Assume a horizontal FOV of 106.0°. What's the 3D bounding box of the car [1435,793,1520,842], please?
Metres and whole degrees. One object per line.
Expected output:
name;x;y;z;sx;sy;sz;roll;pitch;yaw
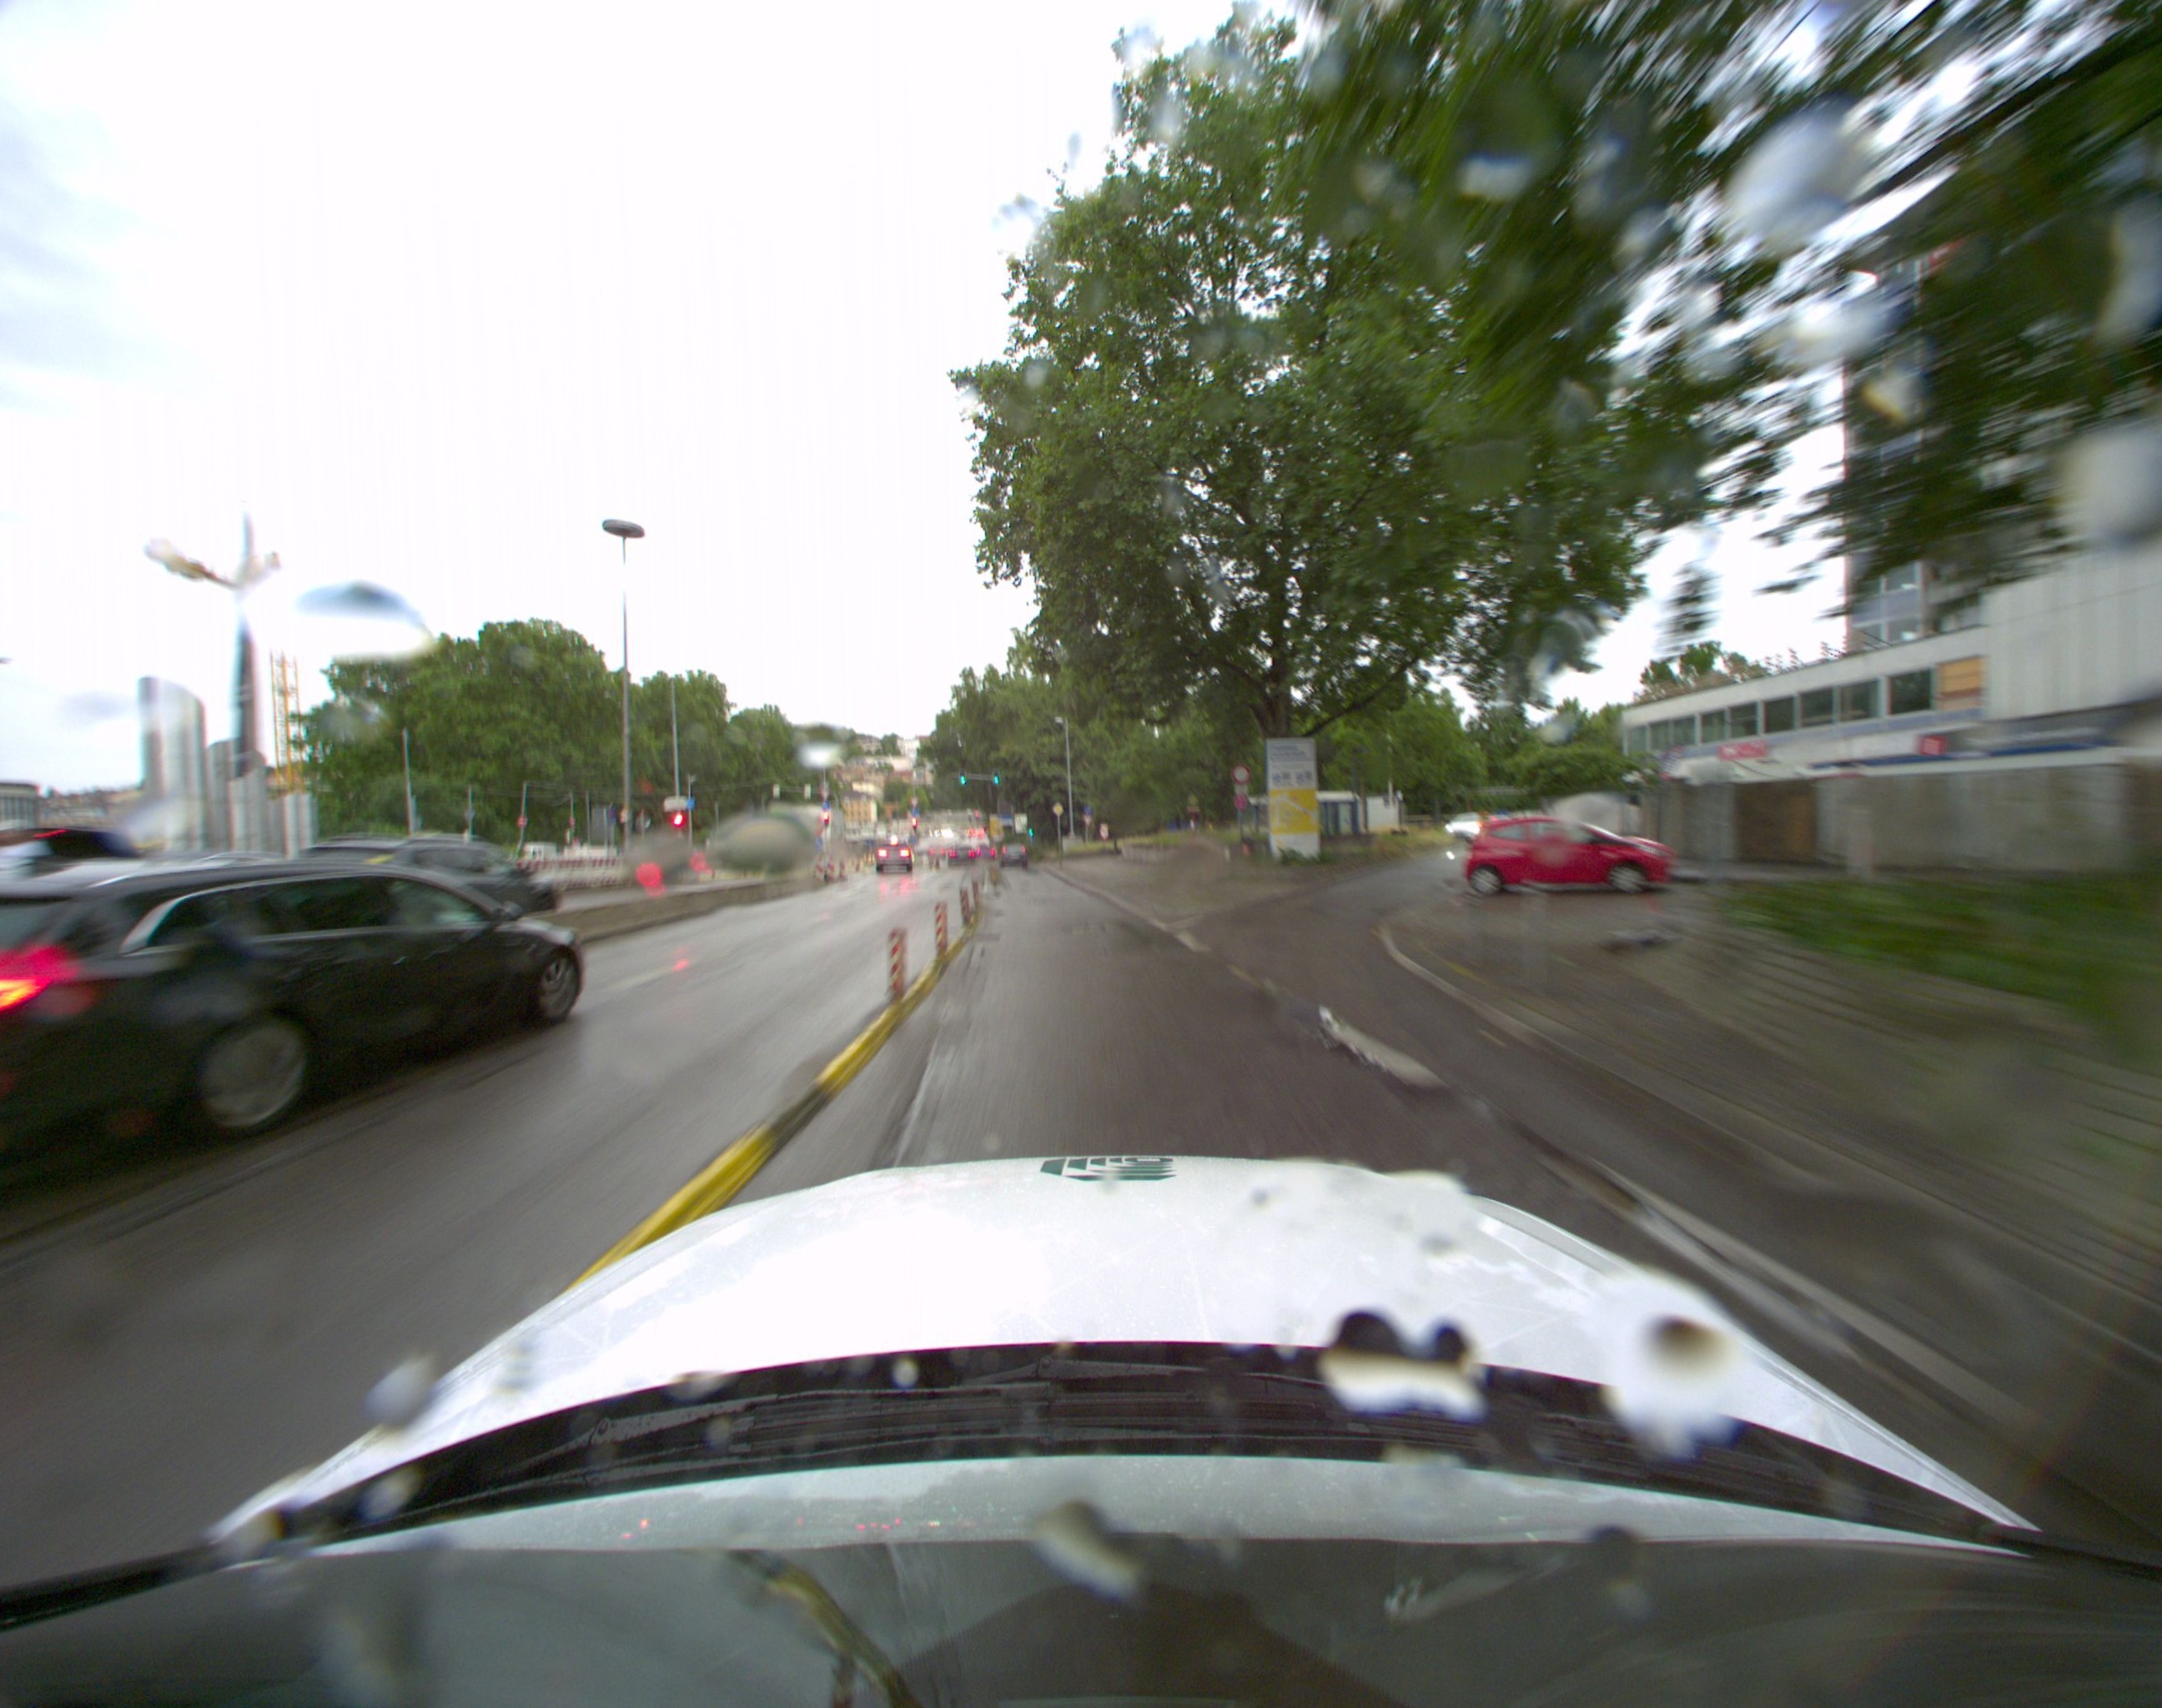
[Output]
car;17.567;-1.571;35.975;2.107;2.013;4.677;1;2;43

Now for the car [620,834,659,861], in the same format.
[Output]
car;-41.816;-0.610;77.272;1.918;2.361;4.497;-3;2;-12

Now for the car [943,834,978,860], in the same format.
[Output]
car;-8.198;-0.510;55.555;1.825;1.686;4.132;-2;2;-2

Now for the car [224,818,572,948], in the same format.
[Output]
car;-9.895;0.313;12.361;1.992;1.529;4.143;-3;2;-7

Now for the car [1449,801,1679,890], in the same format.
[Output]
car;9.169;-0.183;15.560;3.573;1.505;1.745;1;2;38

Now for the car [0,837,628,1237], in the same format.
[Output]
car;-5.233;0.683;5.373;1.873;1.508;4.848;-1;2;-2

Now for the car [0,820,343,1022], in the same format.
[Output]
car;-9.452;0.555;6.933;1.990;1.567;4.870;-3;2;-4

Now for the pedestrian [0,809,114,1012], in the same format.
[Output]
pedestrian;-11.057;0.548;8.581;1.015;2.013;0.841;0;2;28

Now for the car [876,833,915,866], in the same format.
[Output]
car;-10.682;-0.313;47.075;1.994;1.826;3.987;-1;1;-10

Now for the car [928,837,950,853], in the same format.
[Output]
car;-16.070;-1.065;92.133;1.899;1.716;3.998;-1;1;-2

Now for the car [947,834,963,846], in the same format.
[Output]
car;-17.392;-1.983;112.113;1.638;1.624;3.774;-1;1;-17

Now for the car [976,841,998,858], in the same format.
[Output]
car;-9.091;-0.441;78.986;1.669;1.581;3.239;0;1;0

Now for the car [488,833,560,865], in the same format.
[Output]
car;-50.134;-0.507;73.459;2.376;2.701;5.789;-3;2;0

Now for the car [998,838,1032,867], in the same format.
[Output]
car;-4.059;-0.128;50.678;1.847;1.716;3.998;-1;1;-2

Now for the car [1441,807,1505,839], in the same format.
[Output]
car;22.744;-1.761;47.190;4.481;1.781;1.926;-2;2;-44
